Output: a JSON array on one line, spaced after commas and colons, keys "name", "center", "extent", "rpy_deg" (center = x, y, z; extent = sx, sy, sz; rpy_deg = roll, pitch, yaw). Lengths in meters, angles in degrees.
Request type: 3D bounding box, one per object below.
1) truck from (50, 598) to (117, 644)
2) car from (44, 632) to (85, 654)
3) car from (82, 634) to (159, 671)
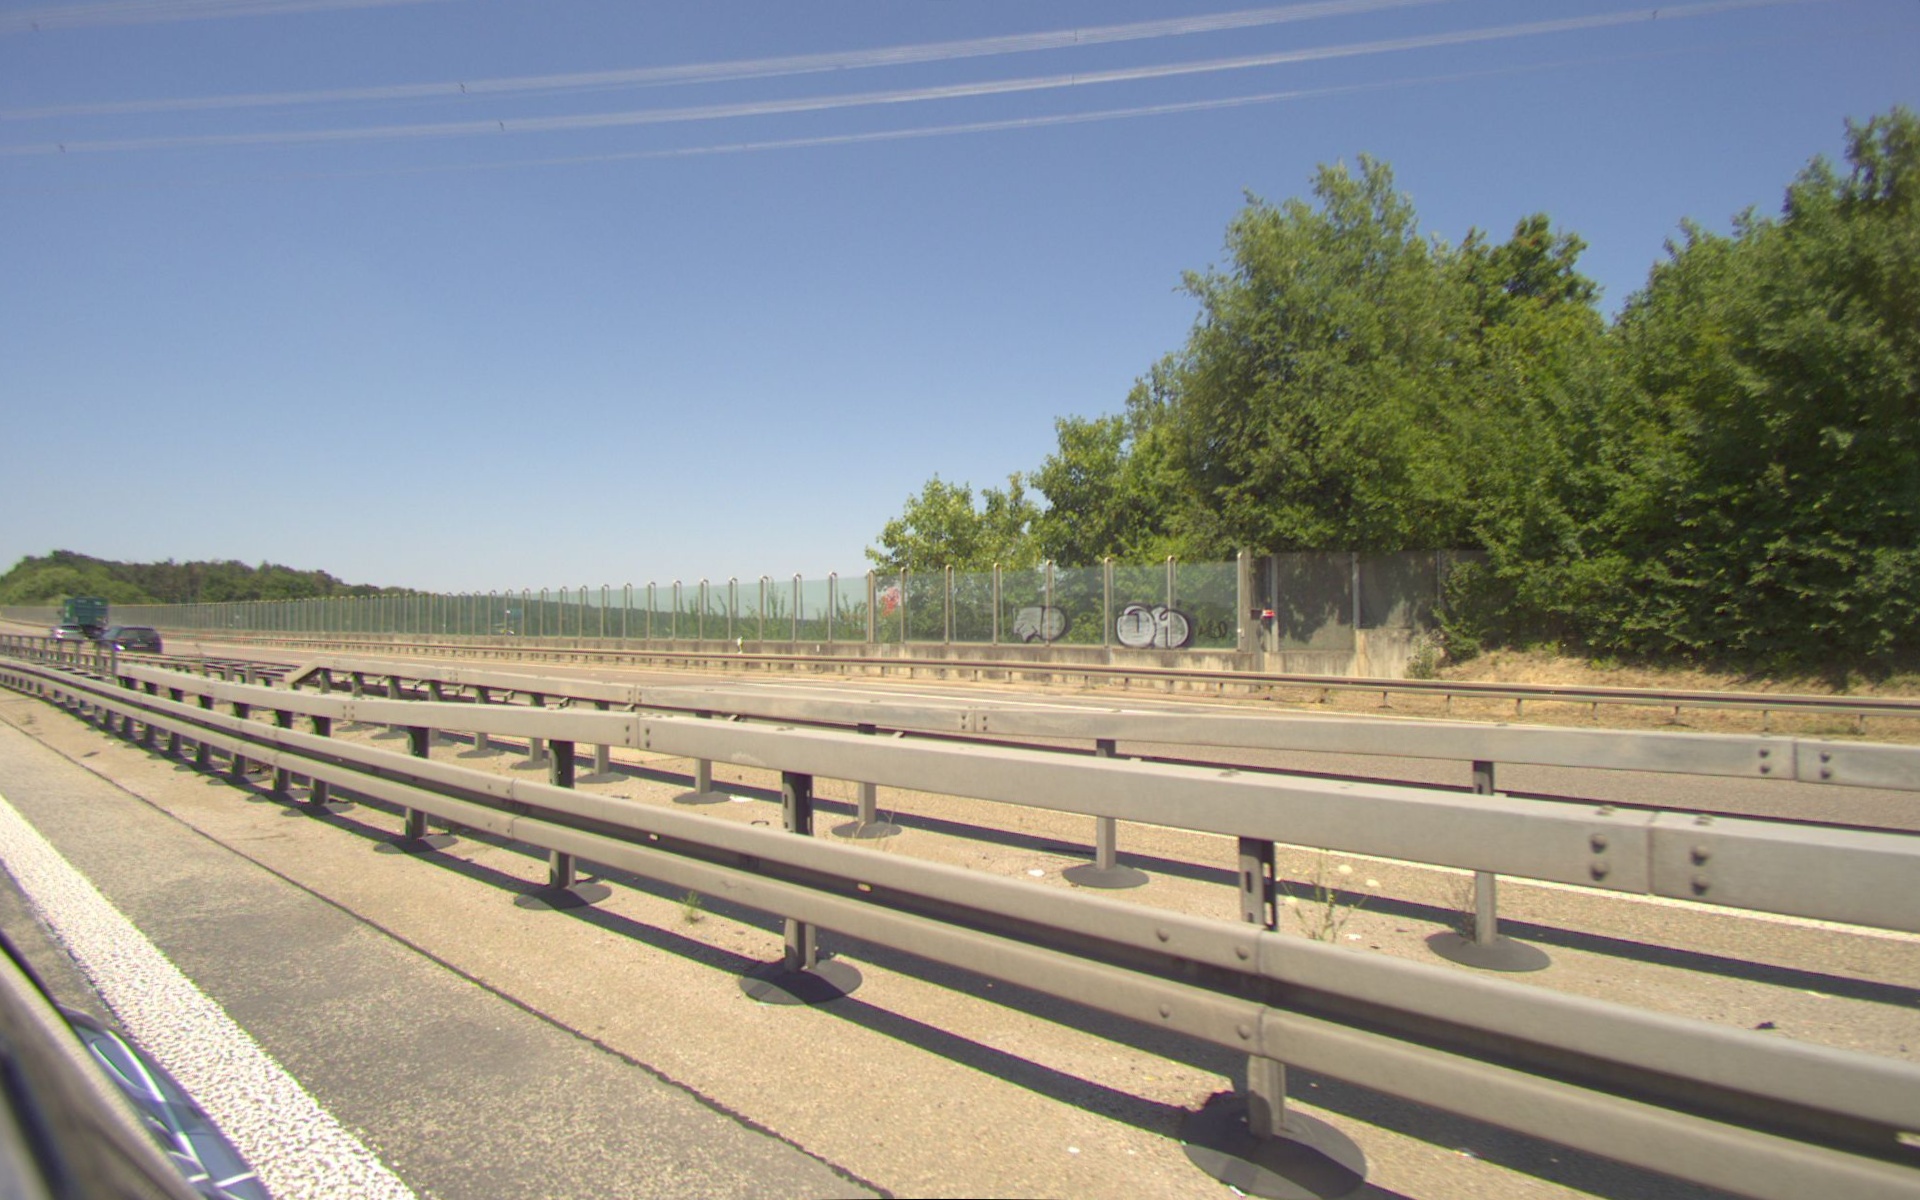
[{"name": "truck", "center": [-85.155, 2.118, 98.228], "extent": [11.085, 4.169, 3.272], "rpy_deg": [-2, -4, 41]}, {"name": "car", "center": [-70.213, 3.374, 79.357], "extent": [4.043, 1.617, 1.764], "rpy_deg": [-3, -3, 39]}, {"name": "car", "center": [-35.181, 2.149, 42.366], "extent": [4.486, 1.485, 1.763], "rpy_deg": [-2, -3, 41]}]
